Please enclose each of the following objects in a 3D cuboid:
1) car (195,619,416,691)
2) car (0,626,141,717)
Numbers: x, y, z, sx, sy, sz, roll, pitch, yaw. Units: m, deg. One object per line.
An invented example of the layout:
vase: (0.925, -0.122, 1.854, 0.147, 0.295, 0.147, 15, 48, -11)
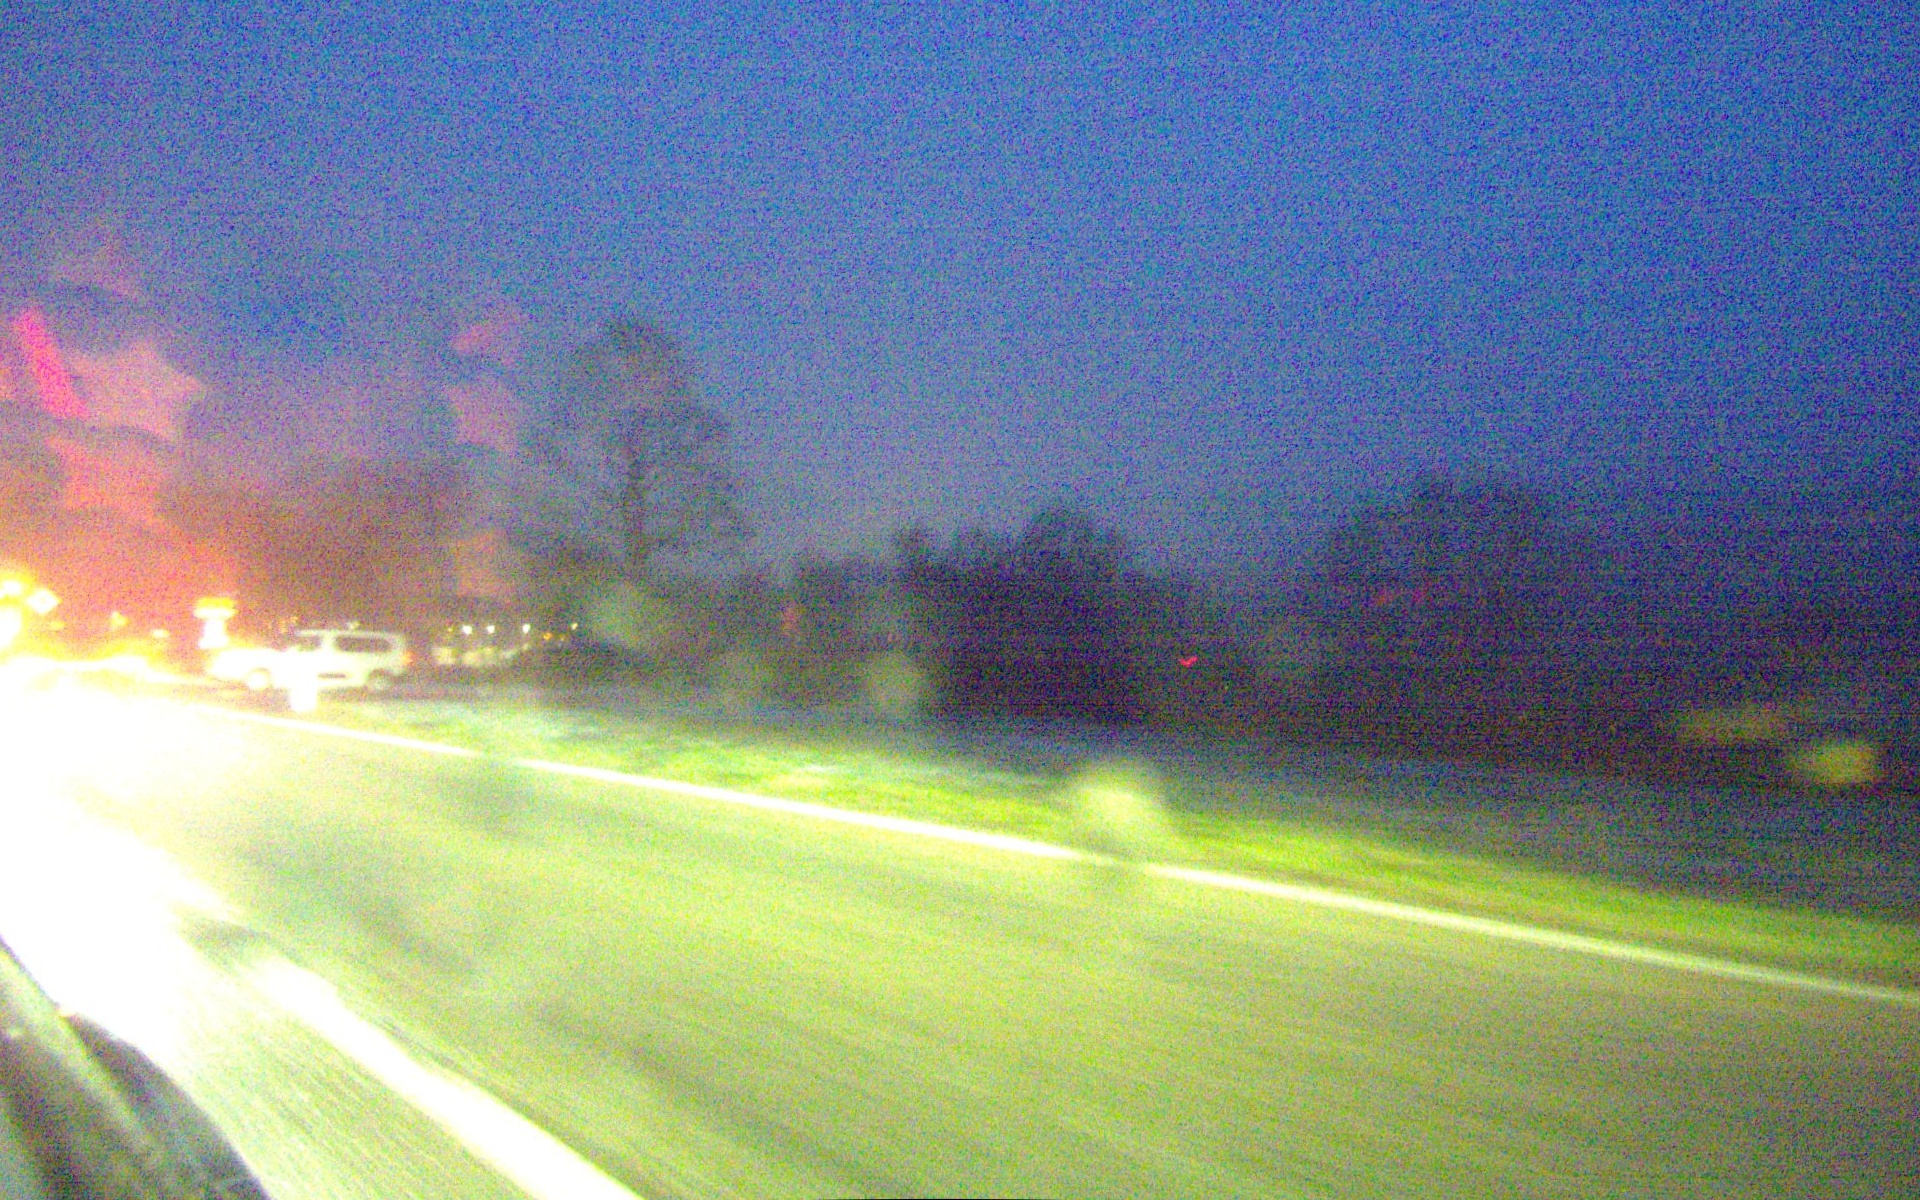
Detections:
car: (-18.479, 1.621, 28.778, 1.933, 1.852, 4.881, -2, -5, 42)
car: (-16.419, 1.240, 18.308, 4.484, 1.416, 1.737, -3, -2, 41)
